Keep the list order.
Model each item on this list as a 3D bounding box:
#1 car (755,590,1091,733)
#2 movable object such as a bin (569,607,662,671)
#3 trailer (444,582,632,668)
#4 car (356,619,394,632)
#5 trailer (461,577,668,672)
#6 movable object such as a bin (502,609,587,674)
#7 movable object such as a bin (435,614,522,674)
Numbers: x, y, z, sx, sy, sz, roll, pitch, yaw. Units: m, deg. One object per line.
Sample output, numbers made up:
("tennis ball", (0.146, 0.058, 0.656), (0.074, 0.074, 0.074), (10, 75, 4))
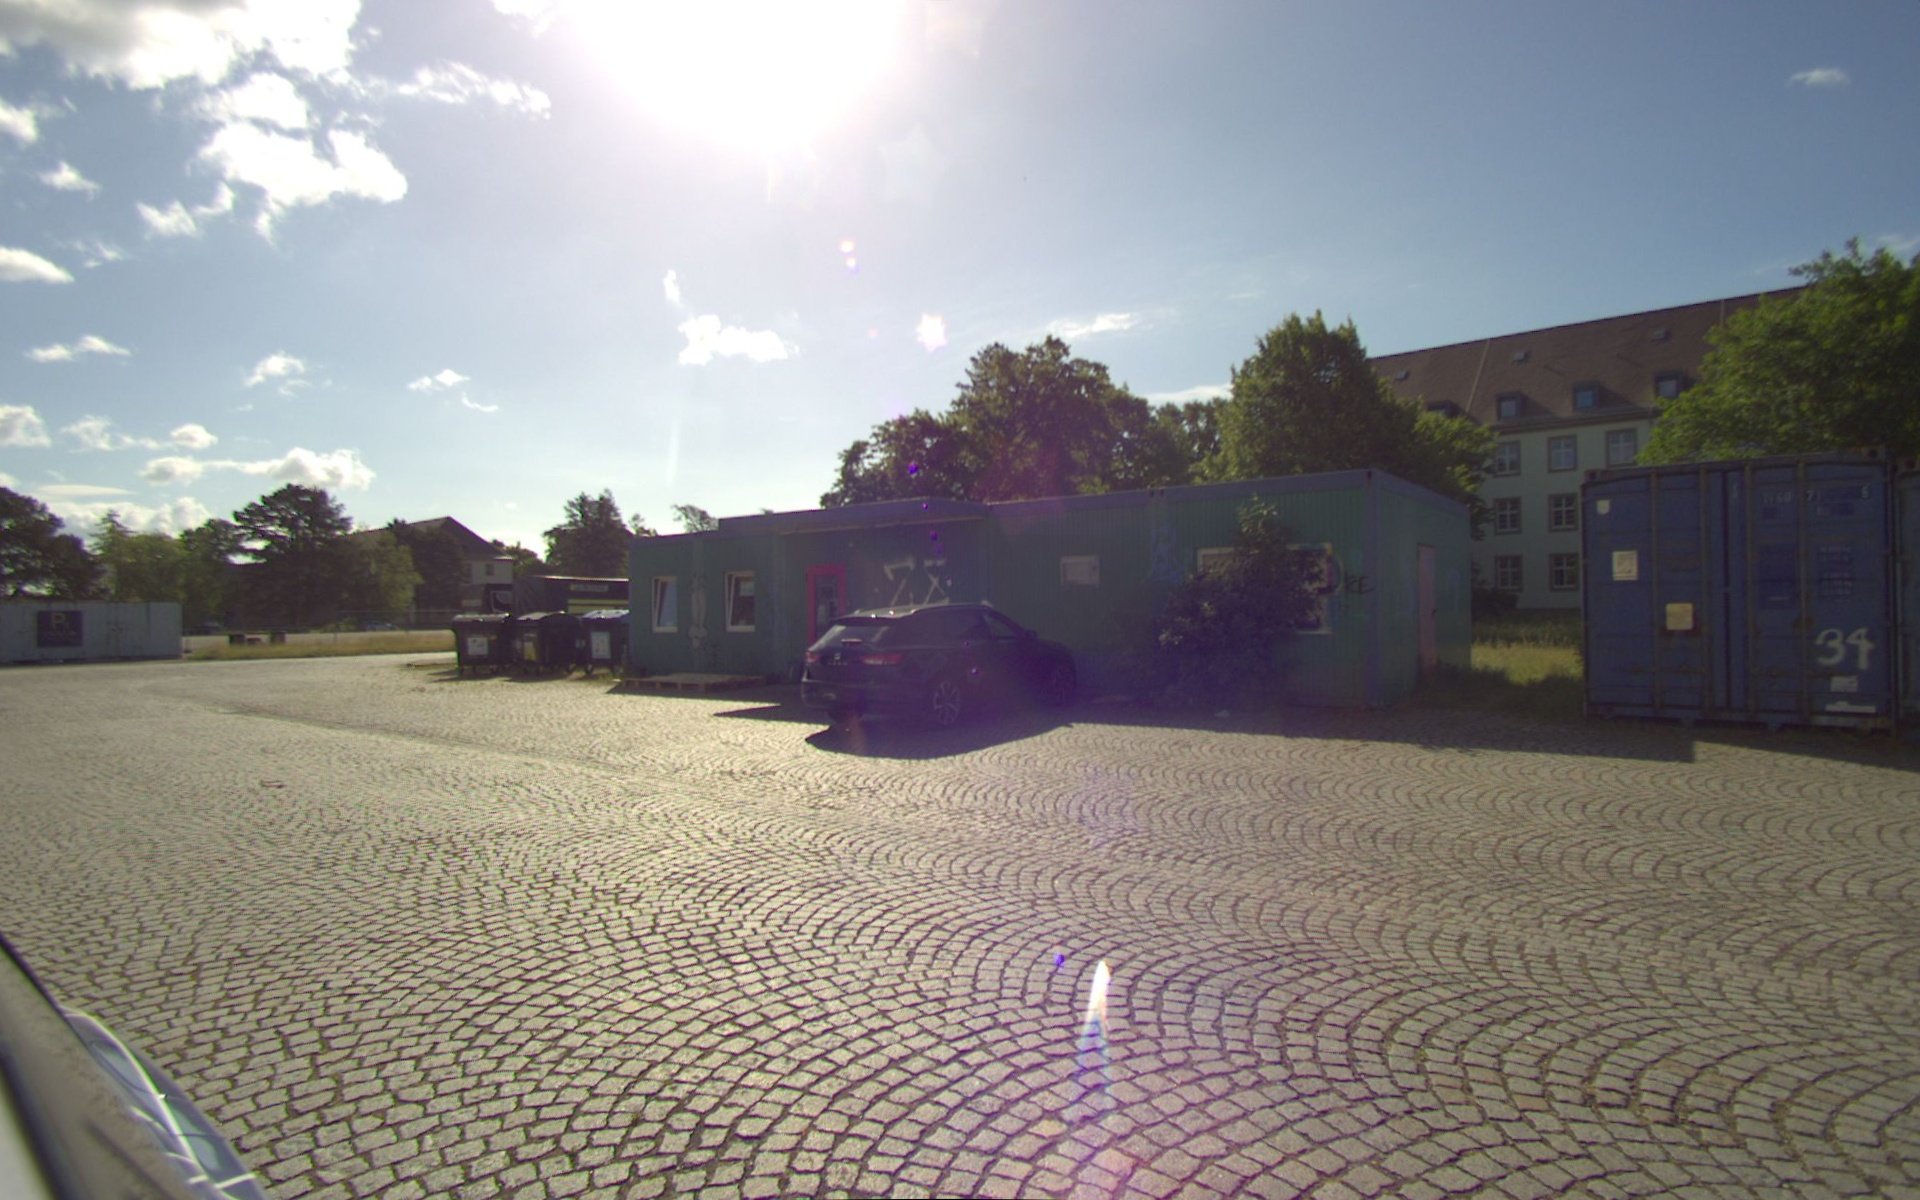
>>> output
("car", (-0.285, 0.647, 12.976), (1.996, 1.475, 4.374), (-2, 0, 36))
("movable object such as a bin", (-7.958, 0.889, 23.404), (1.529, 1.397, 1.373), (-2, -1, 28))
("trailer", (-12.289, 0.671, 29.674), (2.136, 2.315, 4.607), (-2, -1, 41))
("car", (-78.402, 3.464, 135.666), (1.996, 1.594, 3.952), (-1, 0, 36))
("trailer", (-10.689, 0.612, 27.715), (2.092, 2.372, 4.914), (-2, -1, 36))
("movable object such as a bin", (-9.771, 0.961, 23.792), (1.535, 1.433, 1.282), (-2, -1, 41))
("movable object such as a bin", (-11.749, 1.055, 24.758), (1.513, 1.397, 1.387), (-1, -1, -4))
